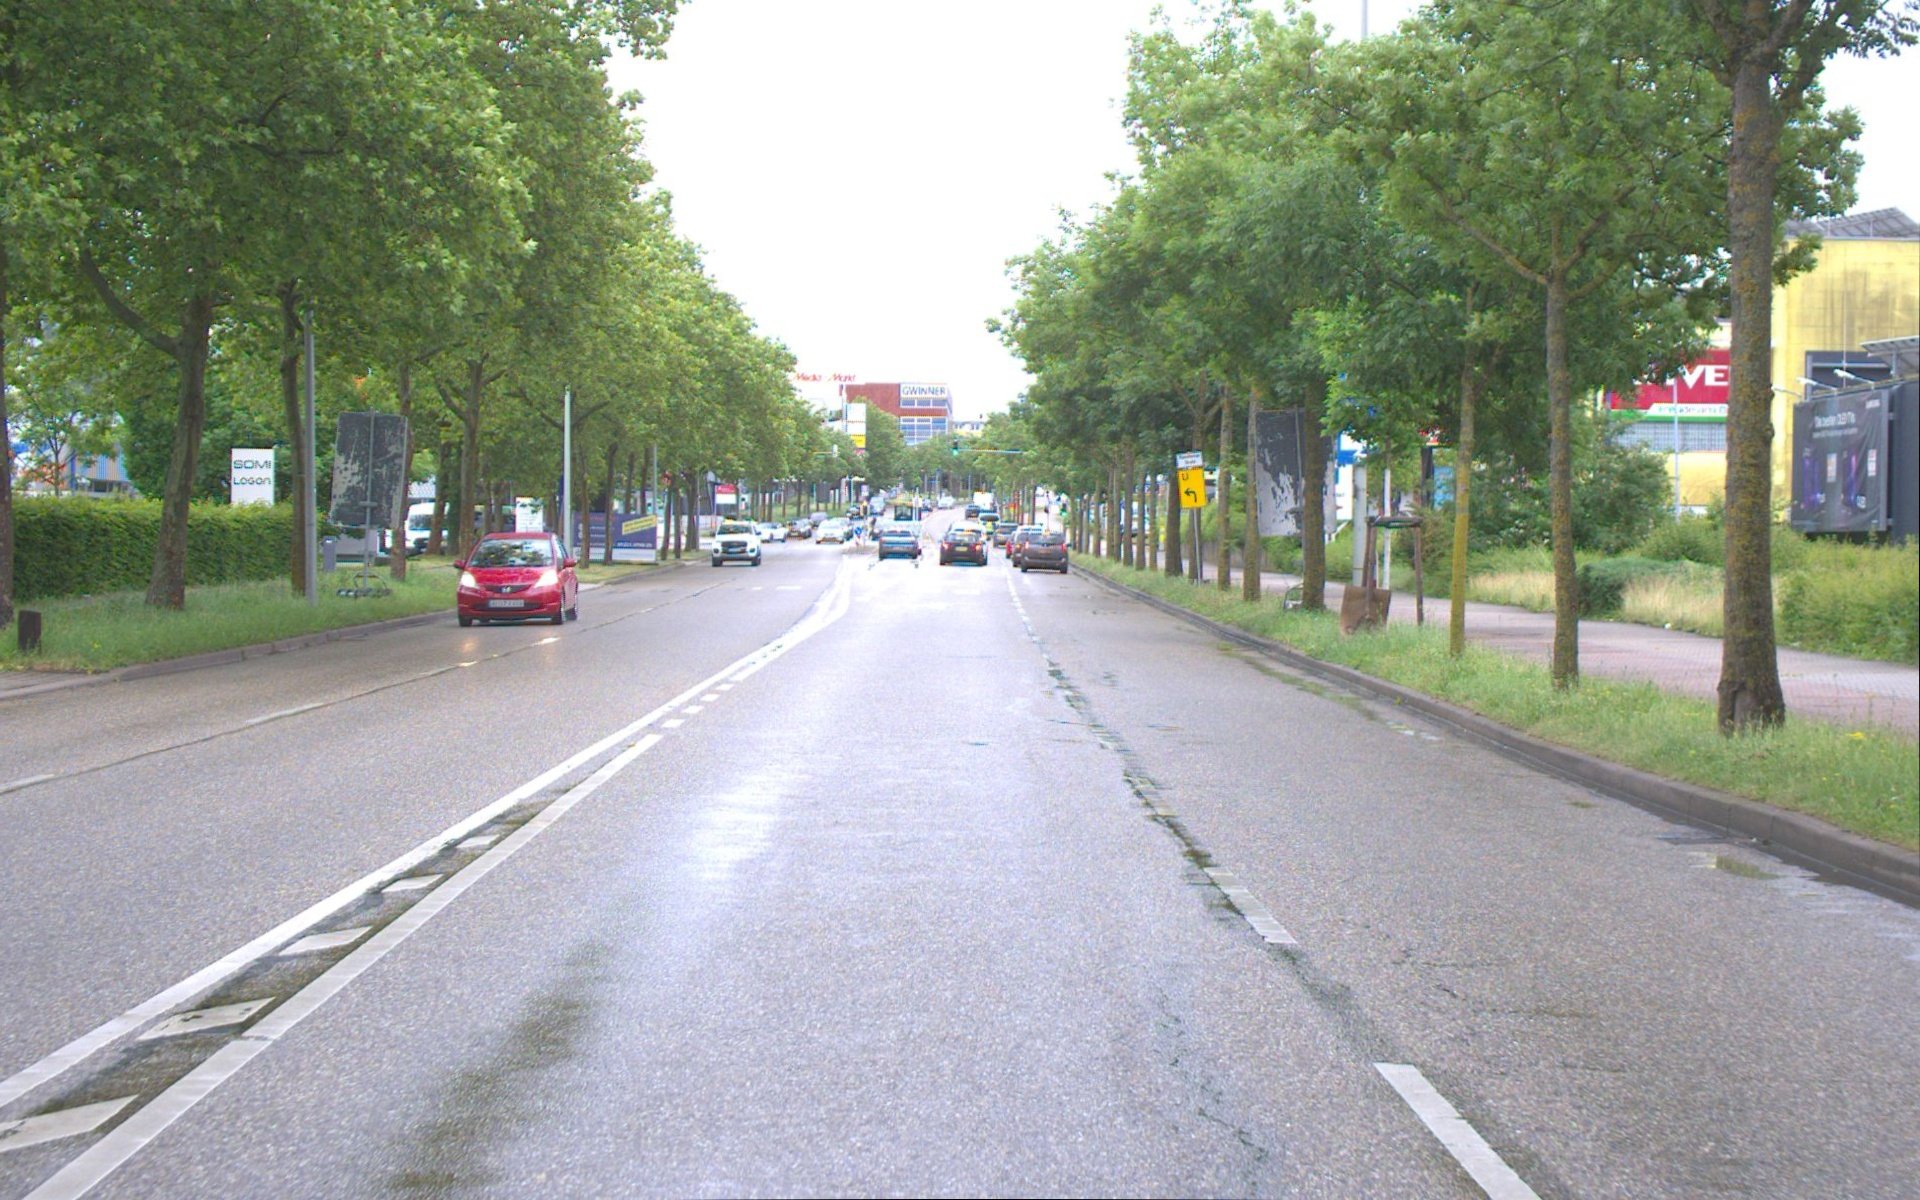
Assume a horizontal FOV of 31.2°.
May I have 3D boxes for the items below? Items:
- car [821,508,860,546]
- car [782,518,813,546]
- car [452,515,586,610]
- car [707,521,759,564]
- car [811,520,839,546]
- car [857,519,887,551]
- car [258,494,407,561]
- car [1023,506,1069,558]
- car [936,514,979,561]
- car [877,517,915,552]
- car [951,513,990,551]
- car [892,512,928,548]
[{"bbox_3d":[-6.385,-3.885,183.808,1.993,2.007,4.000,0,1,-1],"label":"car"},{"bbox_3d":[-11.930,-5.028,252.873,2.216,2.007,4.001,0,1,-2],"label":"car"},{"bbox_3d":[-7.288,-0.642,57.075,1.726,1.512,3.821,0,1,0],"label":"car"},{"bbox_3d":[-9.208,-2.344,139.766,1.704,1.731,4.000,0,1,2],"label":"car"},{"bbox_3d":[-9.006,-4.462,229.987,1.826,1.722,4.001,0,1,-2],"label":"car"},{"bbox_3d":[-5.469,-4.031,212.686,1.826,2.007,4.001,0,1,-2],"label":"car"},{"bbox_3d":[-18.349,-2.109,100.618,3.987,1.918,1.826,0,1,1],"label":"car"},{"bbox_3d":[3.366,-2.667,134.225,1.745,2.007,4.000,0,1,1],"label":"car"},{"bbox_3d":[-0.084,-2.699,148.101,1.745,2.007,4.000,0,1,1],"label":"car"},{"bbox_3d":[-3.161,-3.264,170.779,1.745,1.695,4.000,0,1,1],"label":"car"},{"bbox_3d":[0.498,-3.189,161.455,1.745,1.731,4.000,0,1,1],"label":"car"},{"bbox_3d":[-2.713,-3.780,185.467,1.891,1.870,4.124,0,1,0],"label":"car"}]
